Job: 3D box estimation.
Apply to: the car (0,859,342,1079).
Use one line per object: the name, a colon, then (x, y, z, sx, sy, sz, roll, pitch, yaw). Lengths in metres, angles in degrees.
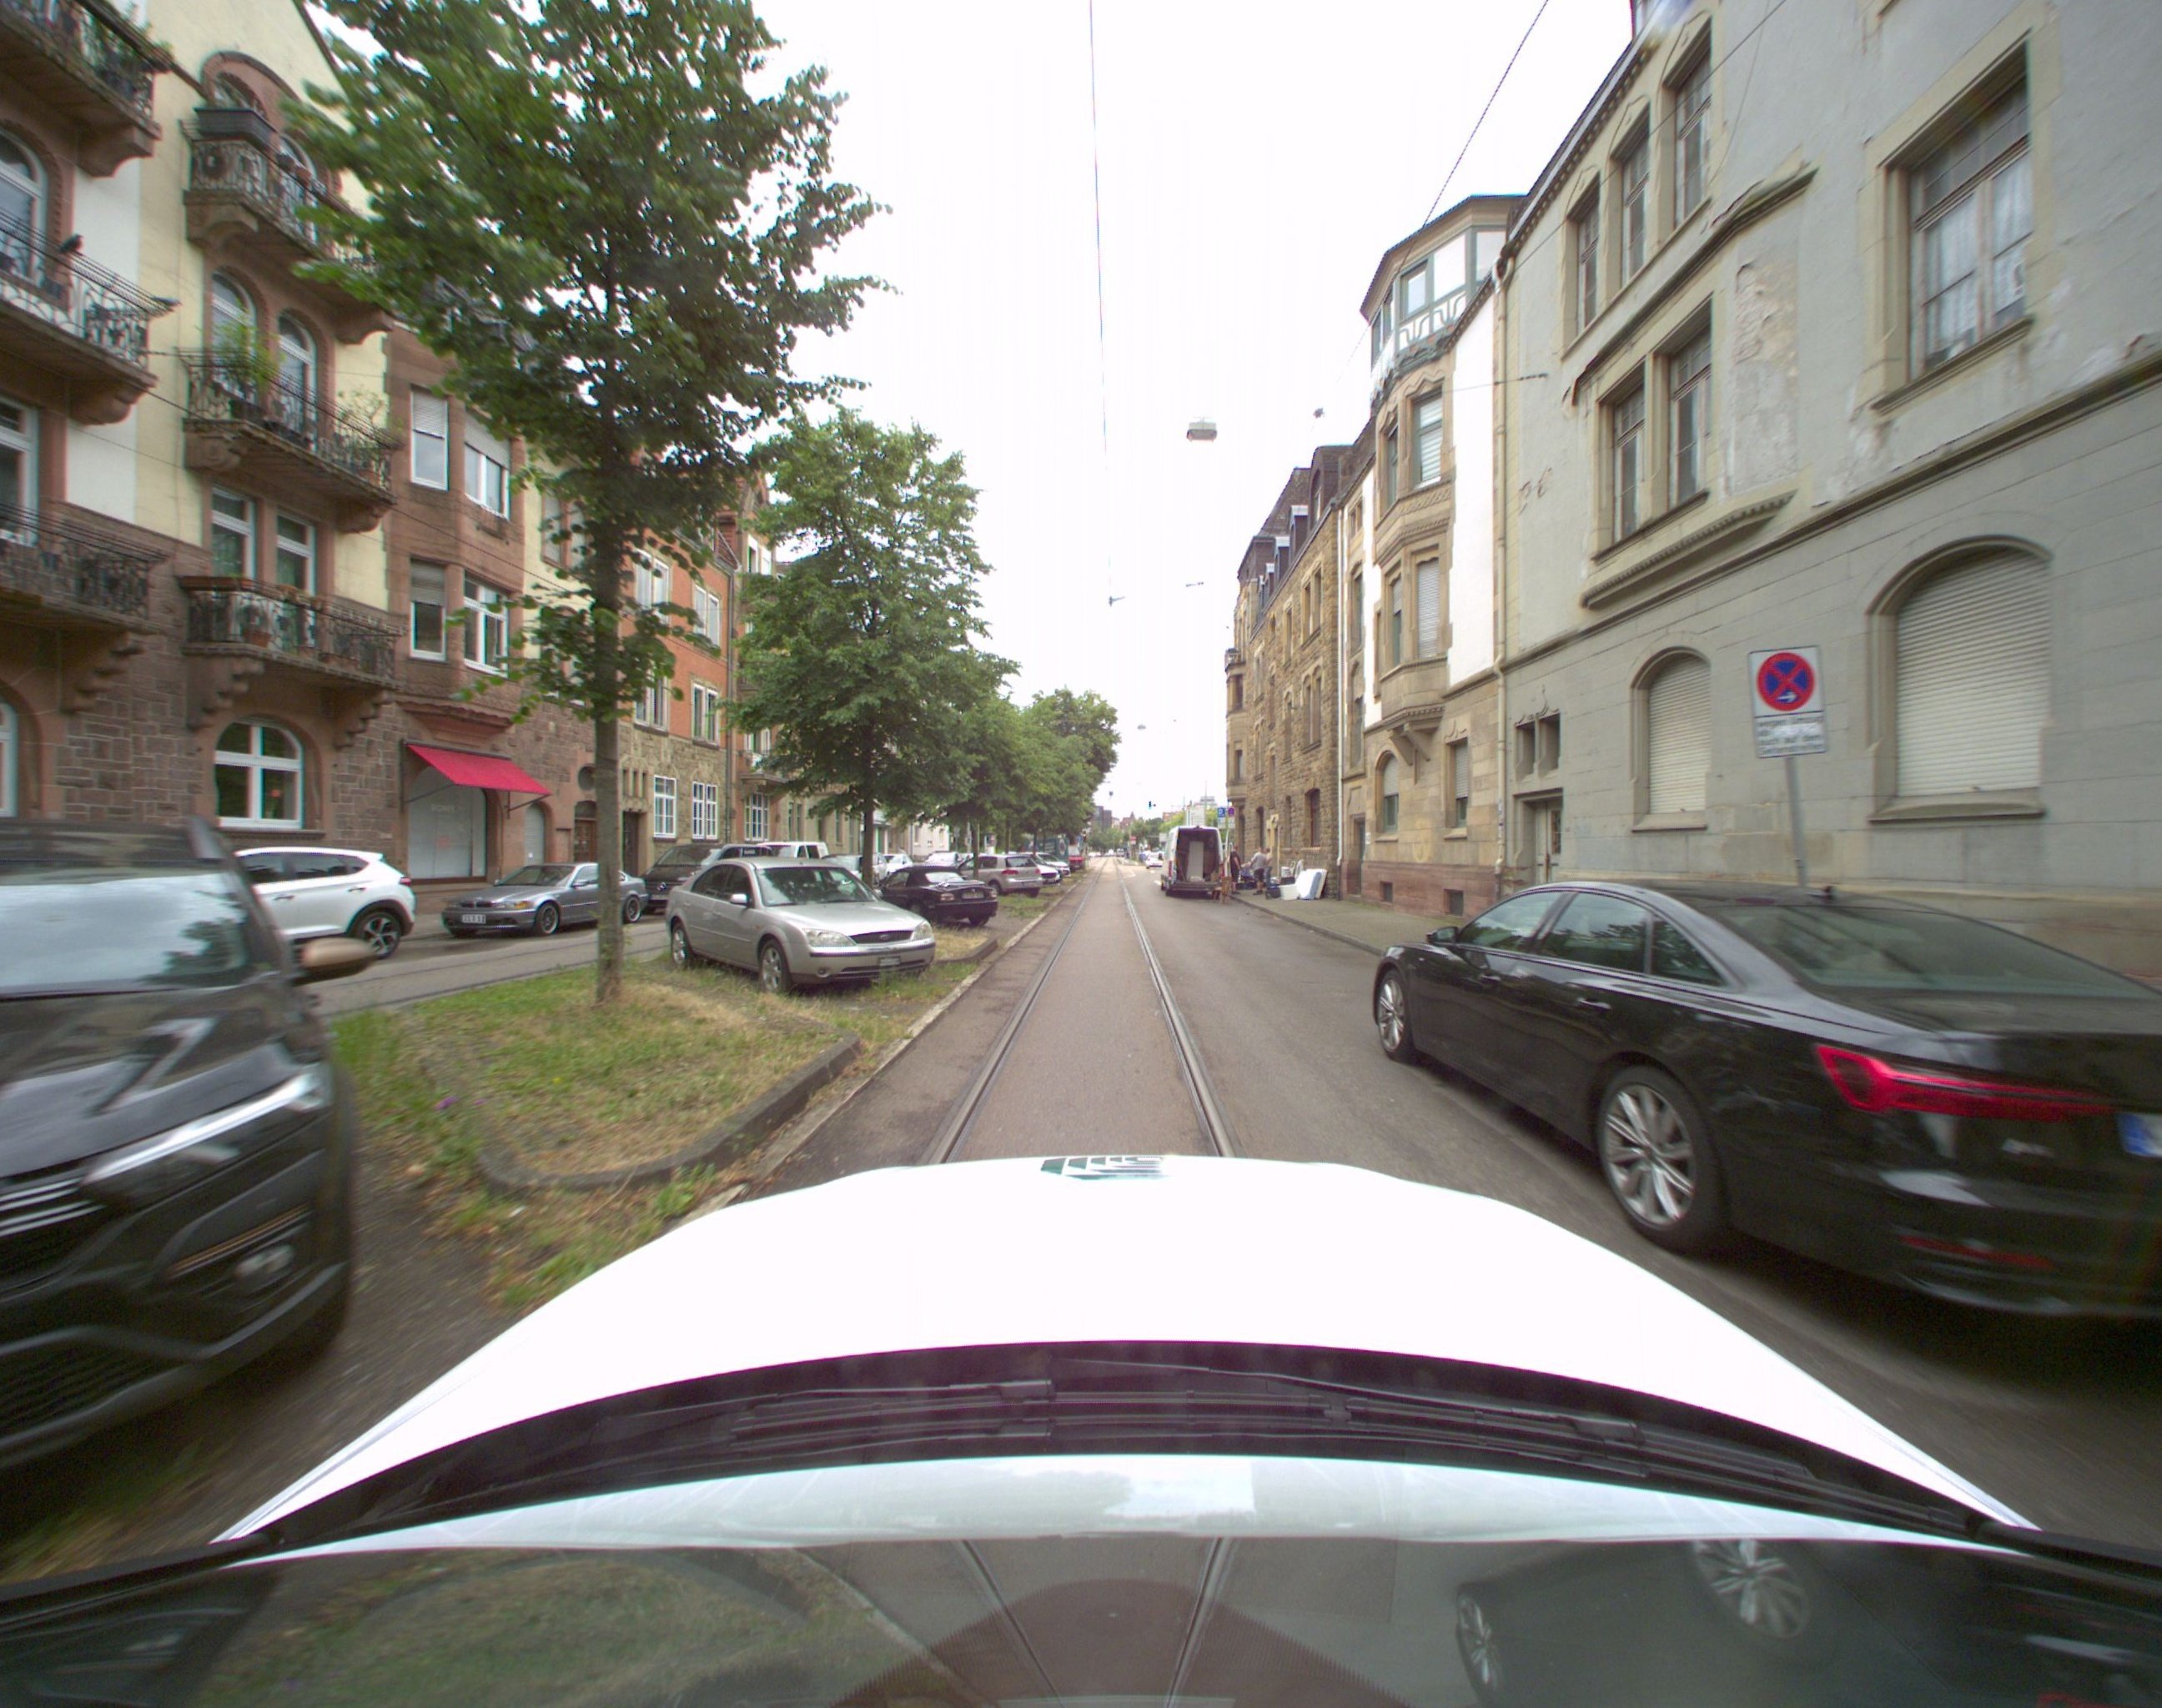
car: (-8.051, 0.763, 5.482, 1.798, 1.453, 4.654, 0, 0, 1)

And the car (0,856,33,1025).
car: (-10.848, 0.791, 5.884, 1.656, 1.559, 3.723, 0, 0, 1)

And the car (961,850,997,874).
car: (-6.491, 0.507, 52.323, 1.638, 1.504, 4.623, 0, 0, 1)

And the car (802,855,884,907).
car: (-7.269, 0.788, 25.109, 1.598, 1.514, 2.893, 0, 0, 1)

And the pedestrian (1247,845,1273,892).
pedestrian: (6.578, 0.535, 29.966, 0.706, 1.700, 0.489, -2, 0, -26)

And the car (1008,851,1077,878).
car: (-2.170, 0.546, 45.238, 3.815, 1.463, 1.700, 0, 0, 44)

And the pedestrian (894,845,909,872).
pedestrian: (-11.727, 0.283, 53.224, 0.795, 1.766, 0.900, 0, 0, 1)

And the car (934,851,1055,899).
car: (-2.968, 0.643, 27.390, 4.066, 1.484, 1.808, 0, 0, 43)

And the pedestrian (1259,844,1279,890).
pedestrian: (7.088, 0.487, 30.779, 0.507, 1.717, 0.579, -2, 0, -8)

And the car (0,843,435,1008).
car: (-10.913, 0.716, 10.314, 1.734, 1.626, 4.555, 0, 0, 1)

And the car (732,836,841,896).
car: (-10.218, 0.400, 28.756, 1.874, 1.952, 5.095, 0, 0, 1)

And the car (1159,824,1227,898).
car: (4.236, 0.234, 31.961, 2.005, 2.548, 7.022, 2, 0, 3)

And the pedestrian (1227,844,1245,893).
pedestrian: (5.830, 0.524, 30.730, 0.497, 1.815, 0.804, -2, 0, 3)

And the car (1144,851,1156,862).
car: (12.561, 0.396, 148.786, 2.170, 2.033, 4.387, 0, 0, 4)

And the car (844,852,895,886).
car: (-10.052, 0.682, 38.911, 1.629, 1.550, 2.951, 0, 0, 1)

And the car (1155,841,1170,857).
car: (10.018, -0.642, 100.509, 1.775, 1.962, 4.387, 0, 0, 4)

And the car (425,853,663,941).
car: (-10.645, 0.762, 16.637, 1.734, 1.542, 4.555, 0, 0, 1)

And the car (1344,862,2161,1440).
car: (3.195, 0.817, 4.749, 1.794, 1.438, 5.198, 0, 0, 2)

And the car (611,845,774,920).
car: (-10.242, 0.683, 21.996, 1.807, 1.781, 5.119, 0, 0, 1)

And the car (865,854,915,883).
car: (-10.012, 0.752, 42.952, 1.629, 1.443, 3.924, 0, 0, 1)

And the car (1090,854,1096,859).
car: (3.358, 0.633, 227.791, 1.755, 1.387, 4.003, 0, 0, 3)

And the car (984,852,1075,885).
car: (-2.454, 0.632, 38.210, 4.286, 1.435, 1.910, 0, 0, 44)

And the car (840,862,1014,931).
car: (-3.288, 0.802, 16.970, 1.678, 1.202, 3.914, 0, 0, -44)

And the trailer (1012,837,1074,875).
trailer: (-2.475, 0.122, 53.231, 3.624, 2.344, 1.943, 0, 0, 35)

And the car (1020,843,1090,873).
car: (-1.812, 0.271, 56.109, 4.707, 1.974, 1.972, 0, 0, 40)

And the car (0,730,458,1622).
car: (-3.694, 0.593, 2.948, 1.775, 1.633, 4.477, 0, 0, -44)

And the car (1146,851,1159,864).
car: (11.247, 0.502, 128.155, 1.775, 1.962, 4.385, 0, 0, 2)

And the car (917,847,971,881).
car: (-6.707, 0.466, 40.402, 1.798, 1.579, 4.548, 0, 0, 1)

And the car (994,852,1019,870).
car: (-6.175, 0.592, 68.121, 1.638, 1.504, 3.884, 0, 0, 1)

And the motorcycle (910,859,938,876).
motorcycle: (-9.854, 0.834, 51.146, 0.703, 1.038, 2.241, 0, 0, 19)

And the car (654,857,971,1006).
car: (-3.460, 0.733, 9.917, 4.610, 1.368, 1.768, 0, 0, 45)

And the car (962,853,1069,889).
car: (-2.893, 0.679, 35.139, 4.629, 1.435, 1.910, 0, 0, 41)

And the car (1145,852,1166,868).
car: (6.759, 0.521, 73.520, 1.773, 1.472, 4.018, 0, 0, 7)

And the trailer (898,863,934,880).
trailer: (-9.705, 1.003, 47.973, 1.449, 0.893, 3.077, -2, 0, 1)
